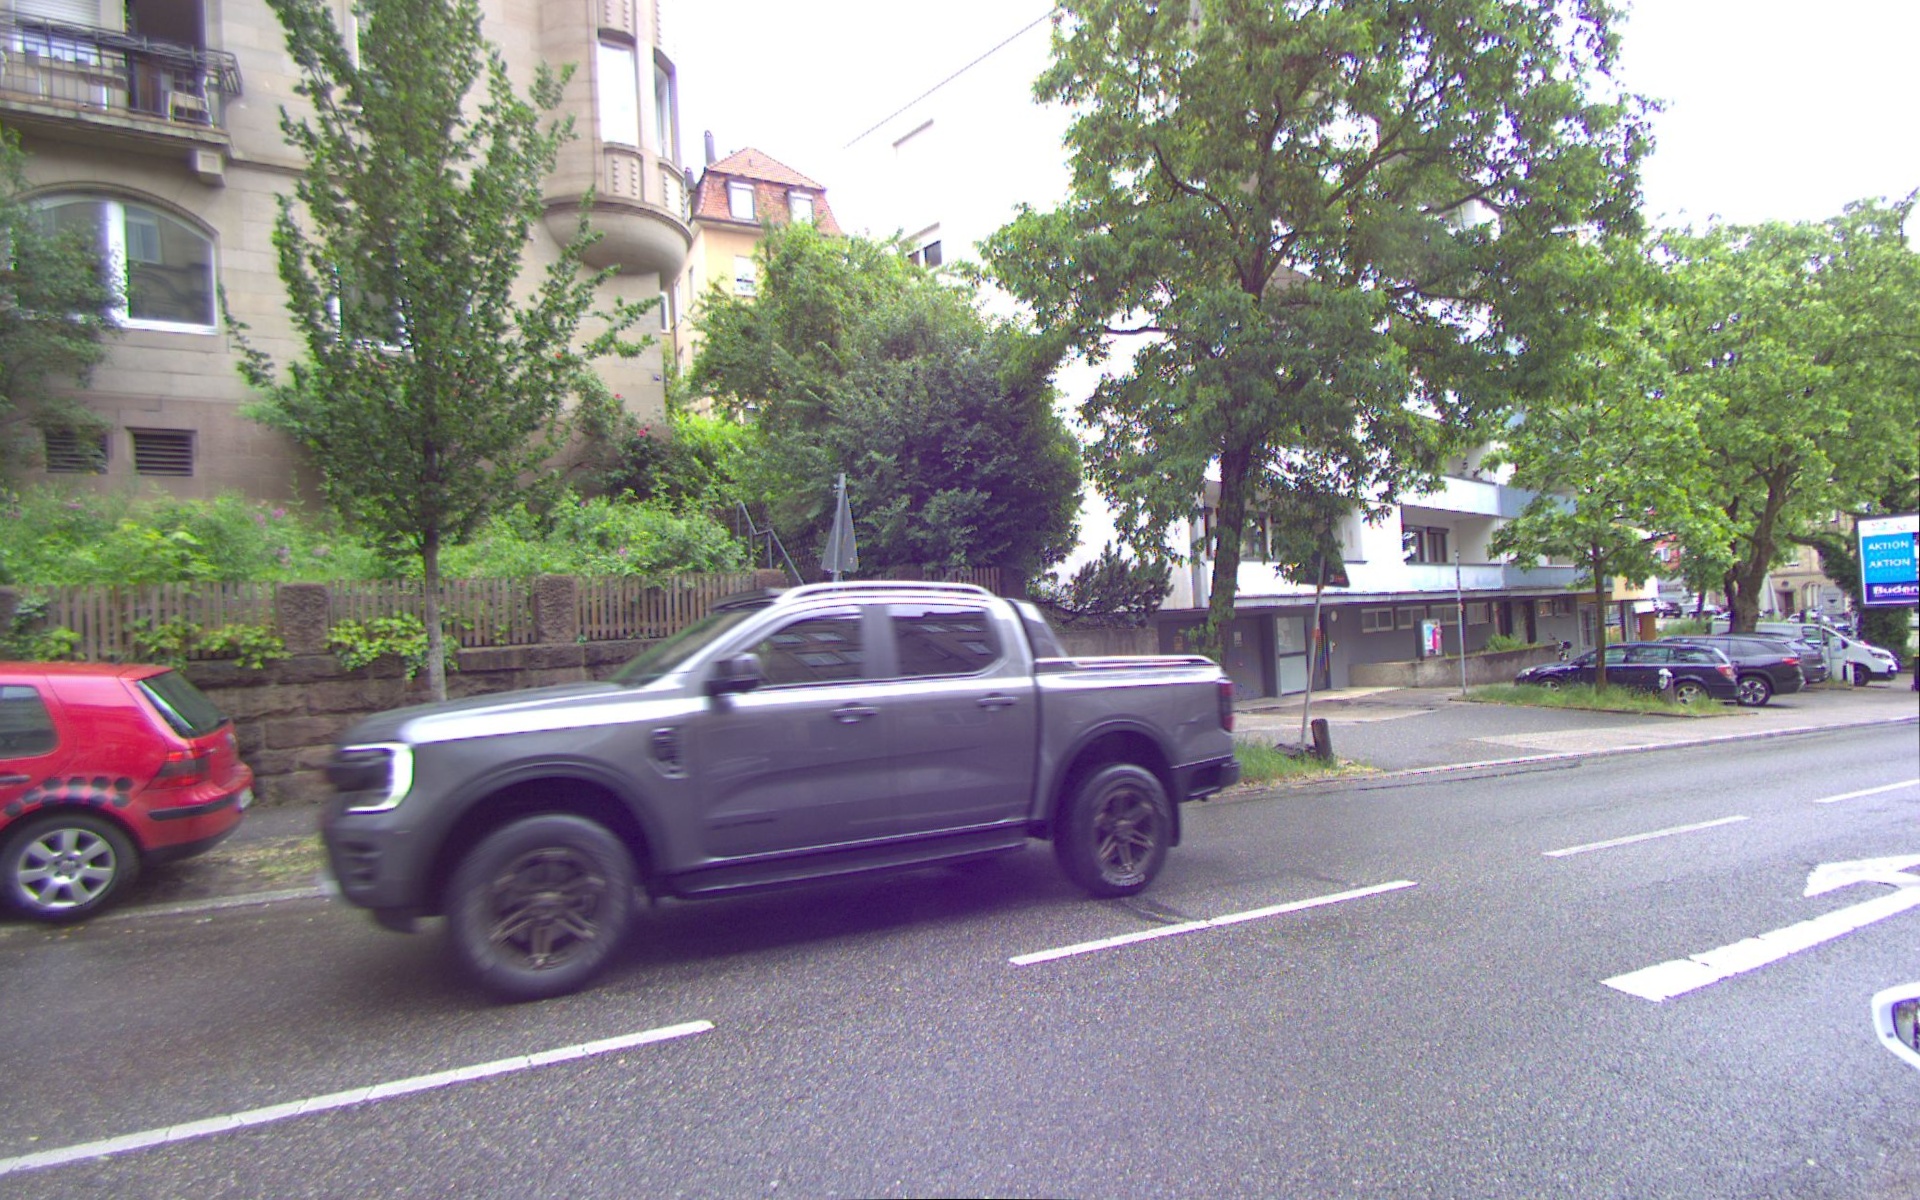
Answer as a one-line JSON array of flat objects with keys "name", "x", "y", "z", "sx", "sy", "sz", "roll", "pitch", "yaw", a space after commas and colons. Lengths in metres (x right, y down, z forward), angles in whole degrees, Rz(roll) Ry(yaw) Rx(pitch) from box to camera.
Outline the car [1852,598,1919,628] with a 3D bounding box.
[{"name": "car", "x": 69.401, "y": 0.923, "z": 74.842, "sx": 1.961, "sy": 2.130, "sz": 4.291, "roll": -1, "pitch": 1, "yaw": -1}]

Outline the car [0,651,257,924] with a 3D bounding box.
[{"name": "car", "x": -6.584, "y": 1.062, "z": 5.757, "sx": 4.015, "sy": 1.470, "sz": 1.606, "roll": 1, "pitch": -2, "yaw": -30}]

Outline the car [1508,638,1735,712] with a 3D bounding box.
[{"name": "car", "x": 15.589, "y": 1.743, "z": 23.811, "sx": 4.301, "sy": 1.594, "sz": 1.936, "roll": -3, "pitch": -4, "yaw": 37}]

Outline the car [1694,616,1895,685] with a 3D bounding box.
[{"name": "car", "x": 27.655, "y": 1.641, "z": 33.490, "sx": 5.000, "sy": 2.132, "sz": 1.983, "roll": -2, "pitch": -3, "yaw": 40}]

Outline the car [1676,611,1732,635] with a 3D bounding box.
[{"name": "car", "x": 68.581, "y": 2.100, "z": 92.650, "sx": 1.961, "sy": 2.130, "sz": 4.291, "roll": -1, "pitch": 1, "yaw": -1}]

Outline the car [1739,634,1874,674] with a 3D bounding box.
[{"name": "car", "x": 32.839, "y": 2.064, "z": 39.084, "sx": 3.925, "sy": 1.469, "sz": 1.761, "roll": -2, "pitch": -3, "yaw": 40}]

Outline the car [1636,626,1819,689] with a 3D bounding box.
[{"name": "car", "x": 23.287, "y": 1.711, "z": 30.591, "sx": 4.305, "sy": 1.807, "sz": 1.931, "roll": -2, "pitch": -3, "yaw": 40}]

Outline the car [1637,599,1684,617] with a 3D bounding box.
[{"name": "car", "x": 68.802, "y": 0.755, "z": 98.711, "sx": 1.694, "sy": 1.711, "sz": 3.999, "roll": 2, "pitch": 0, "yaw": -2}]

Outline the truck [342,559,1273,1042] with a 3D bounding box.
[{"name": "truck", "x": -0.709, "y": 0.861, "z": 6.094, "sx": 5.093, "sy": 1.859, "sz": 2.061, "roll": 1, "pitch": -4, "yaw": -30}]

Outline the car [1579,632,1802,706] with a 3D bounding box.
[{"name": "car", "x": 18.094, "y": 1.710, "z": 25.050, "sx": 4.312, "sy": 1.694, "sz": 1.848, "roll": -3, "pitch": -4, "yaw": 38}]

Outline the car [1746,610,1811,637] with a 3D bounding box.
[{"name": "car", "x": 69.140, "y": 1.981, "z": 84.956, "sx": 1.961, "sy": 2.130, "sz": 4.291, "roll": -1, "pitch": 1, "yaw": -1}]
